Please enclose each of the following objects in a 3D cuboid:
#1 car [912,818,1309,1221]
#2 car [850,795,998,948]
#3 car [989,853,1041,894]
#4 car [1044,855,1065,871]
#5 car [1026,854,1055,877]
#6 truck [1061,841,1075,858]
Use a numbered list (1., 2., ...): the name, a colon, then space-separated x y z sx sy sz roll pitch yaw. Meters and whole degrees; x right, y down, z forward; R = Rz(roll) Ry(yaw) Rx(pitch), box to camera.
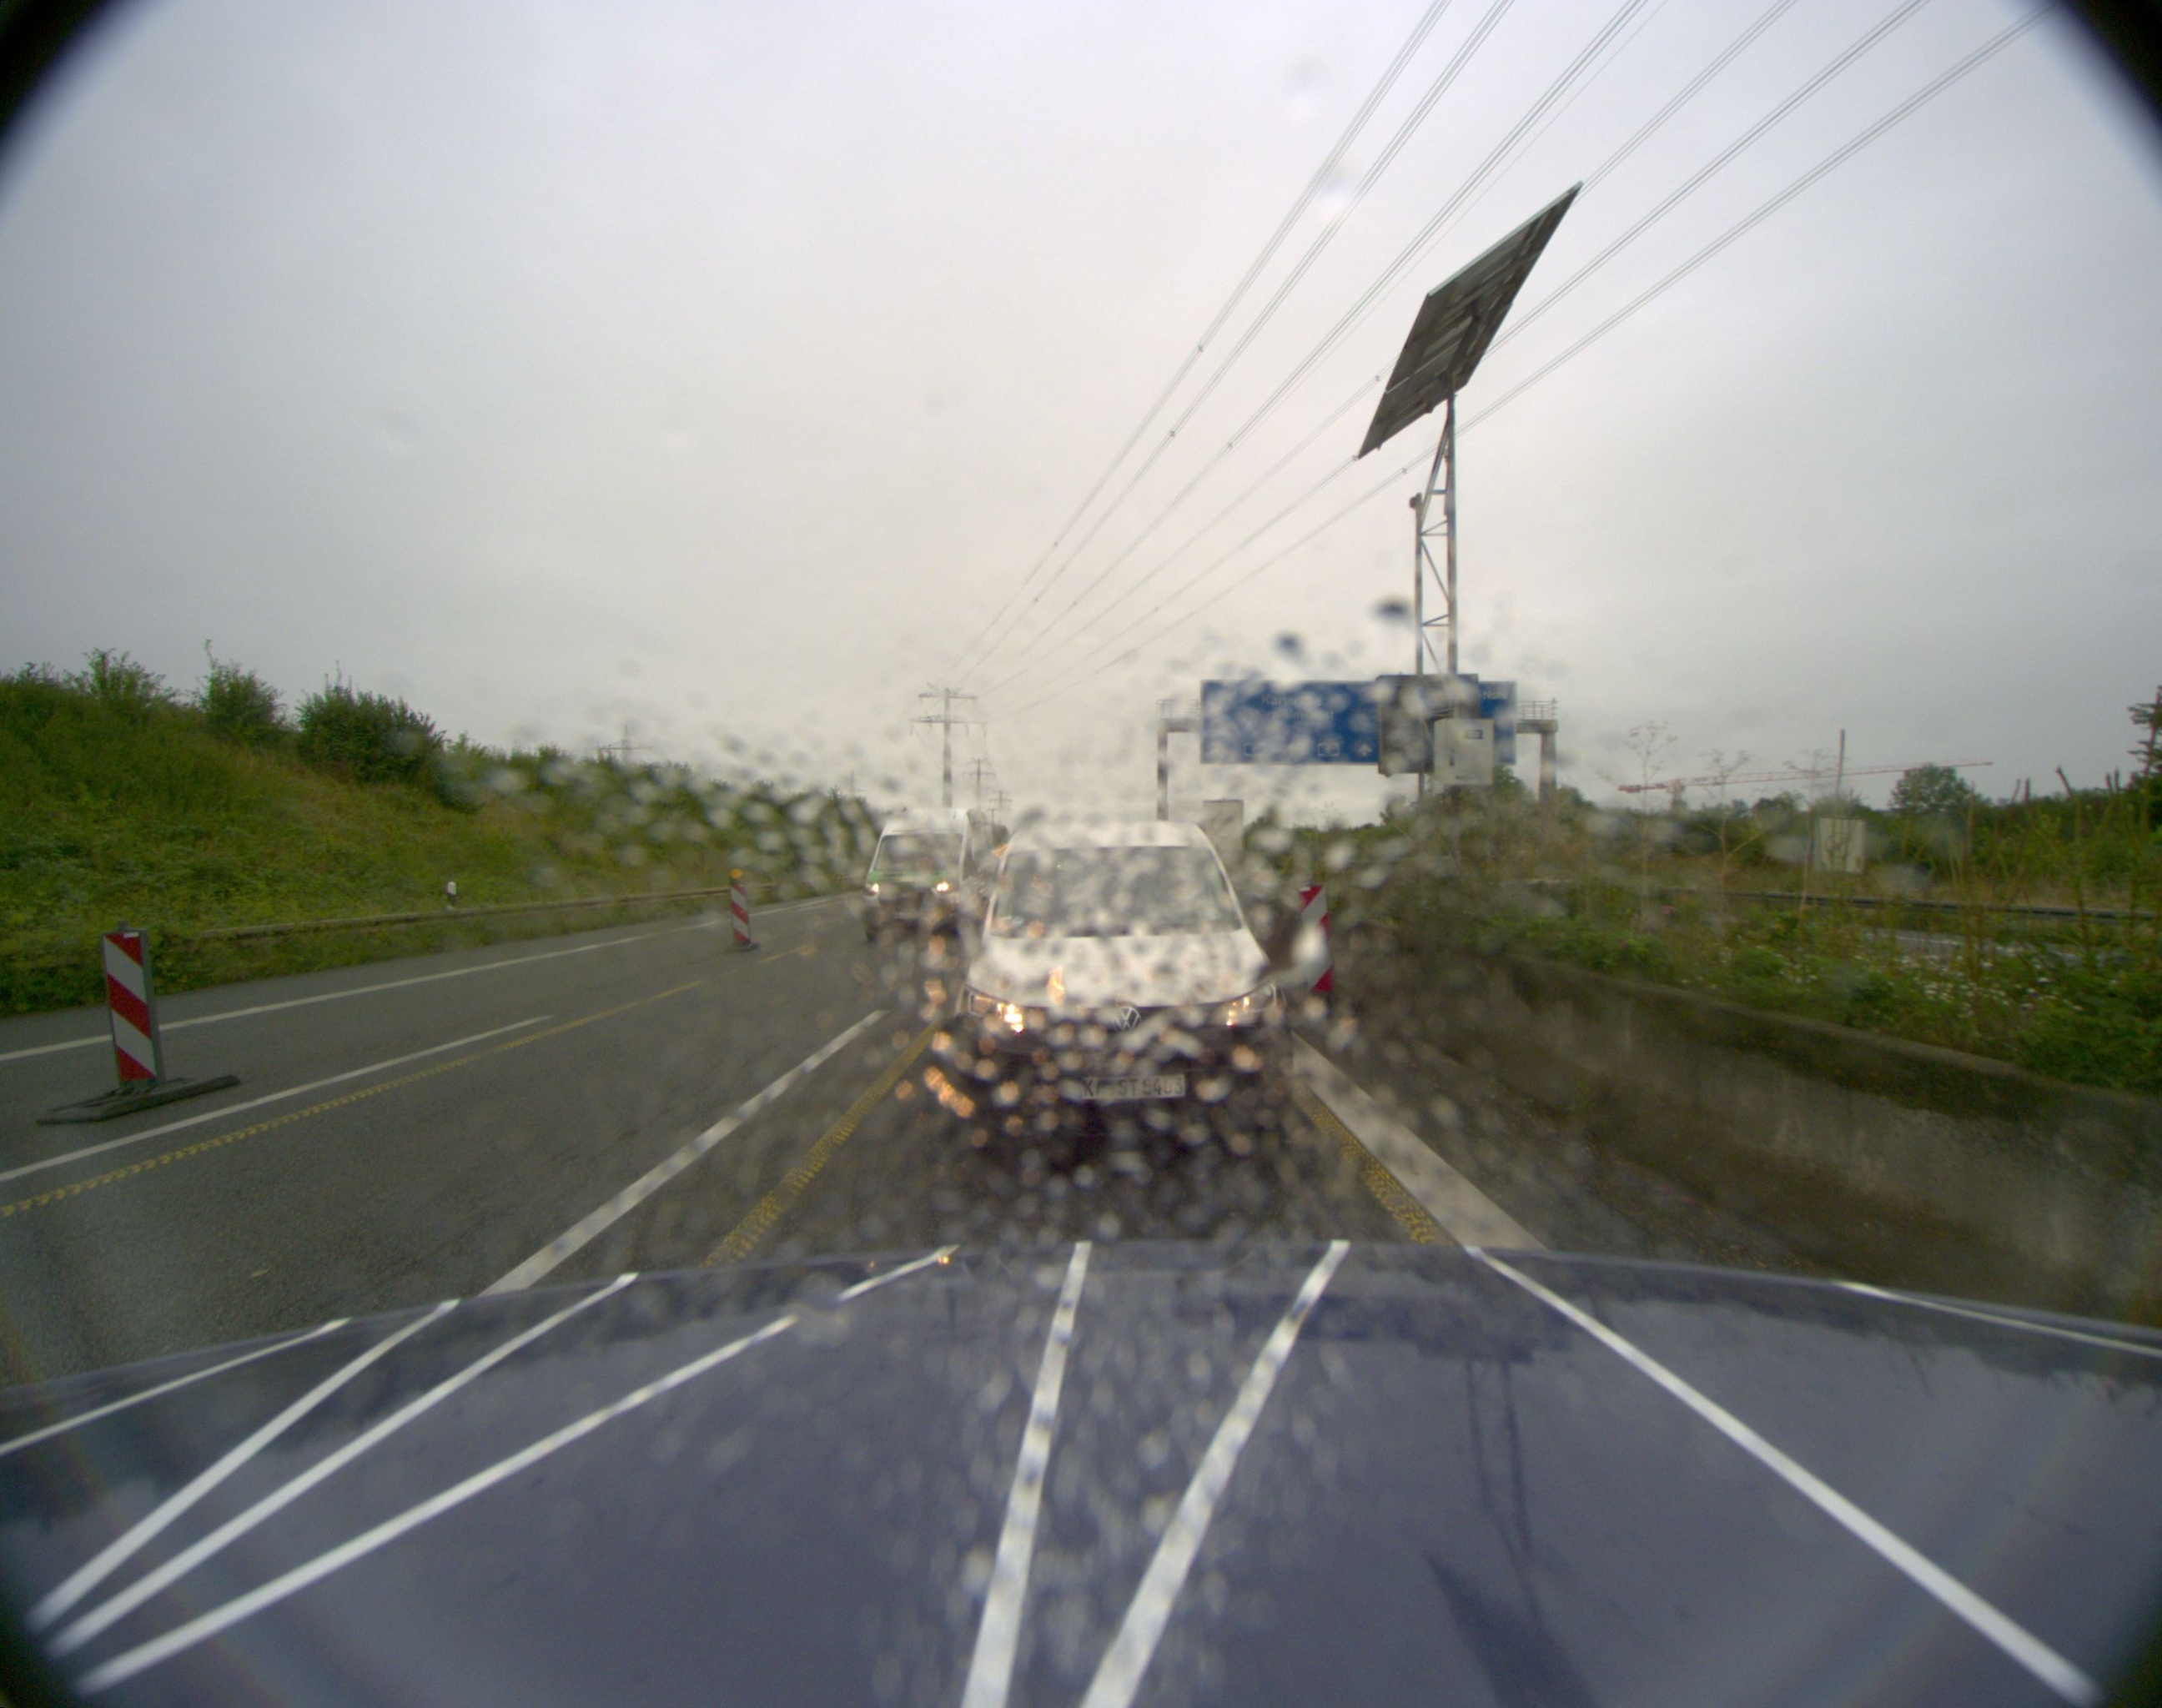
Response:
1. car: 0.165 0.753 5.638 1.768 1.803 4.345 -1 0 1
2. car: -3.183 0.315 16.776 1.998 2.766 5.756 -1 0 0
3. car: -2.857 0.817 33.602 1.688 1.649 4.281 -1 0 3
4. car: -2.413 0.805 69.845 1.804 1.432 4.149 -1 0 -1
5. car: -2.802 0.789 53.591 1.804 1.523 4.149 -1 0 -1
6. truck: -3.045 -1.059 179.211 2.875 4.007 8.309 -1 0 1
